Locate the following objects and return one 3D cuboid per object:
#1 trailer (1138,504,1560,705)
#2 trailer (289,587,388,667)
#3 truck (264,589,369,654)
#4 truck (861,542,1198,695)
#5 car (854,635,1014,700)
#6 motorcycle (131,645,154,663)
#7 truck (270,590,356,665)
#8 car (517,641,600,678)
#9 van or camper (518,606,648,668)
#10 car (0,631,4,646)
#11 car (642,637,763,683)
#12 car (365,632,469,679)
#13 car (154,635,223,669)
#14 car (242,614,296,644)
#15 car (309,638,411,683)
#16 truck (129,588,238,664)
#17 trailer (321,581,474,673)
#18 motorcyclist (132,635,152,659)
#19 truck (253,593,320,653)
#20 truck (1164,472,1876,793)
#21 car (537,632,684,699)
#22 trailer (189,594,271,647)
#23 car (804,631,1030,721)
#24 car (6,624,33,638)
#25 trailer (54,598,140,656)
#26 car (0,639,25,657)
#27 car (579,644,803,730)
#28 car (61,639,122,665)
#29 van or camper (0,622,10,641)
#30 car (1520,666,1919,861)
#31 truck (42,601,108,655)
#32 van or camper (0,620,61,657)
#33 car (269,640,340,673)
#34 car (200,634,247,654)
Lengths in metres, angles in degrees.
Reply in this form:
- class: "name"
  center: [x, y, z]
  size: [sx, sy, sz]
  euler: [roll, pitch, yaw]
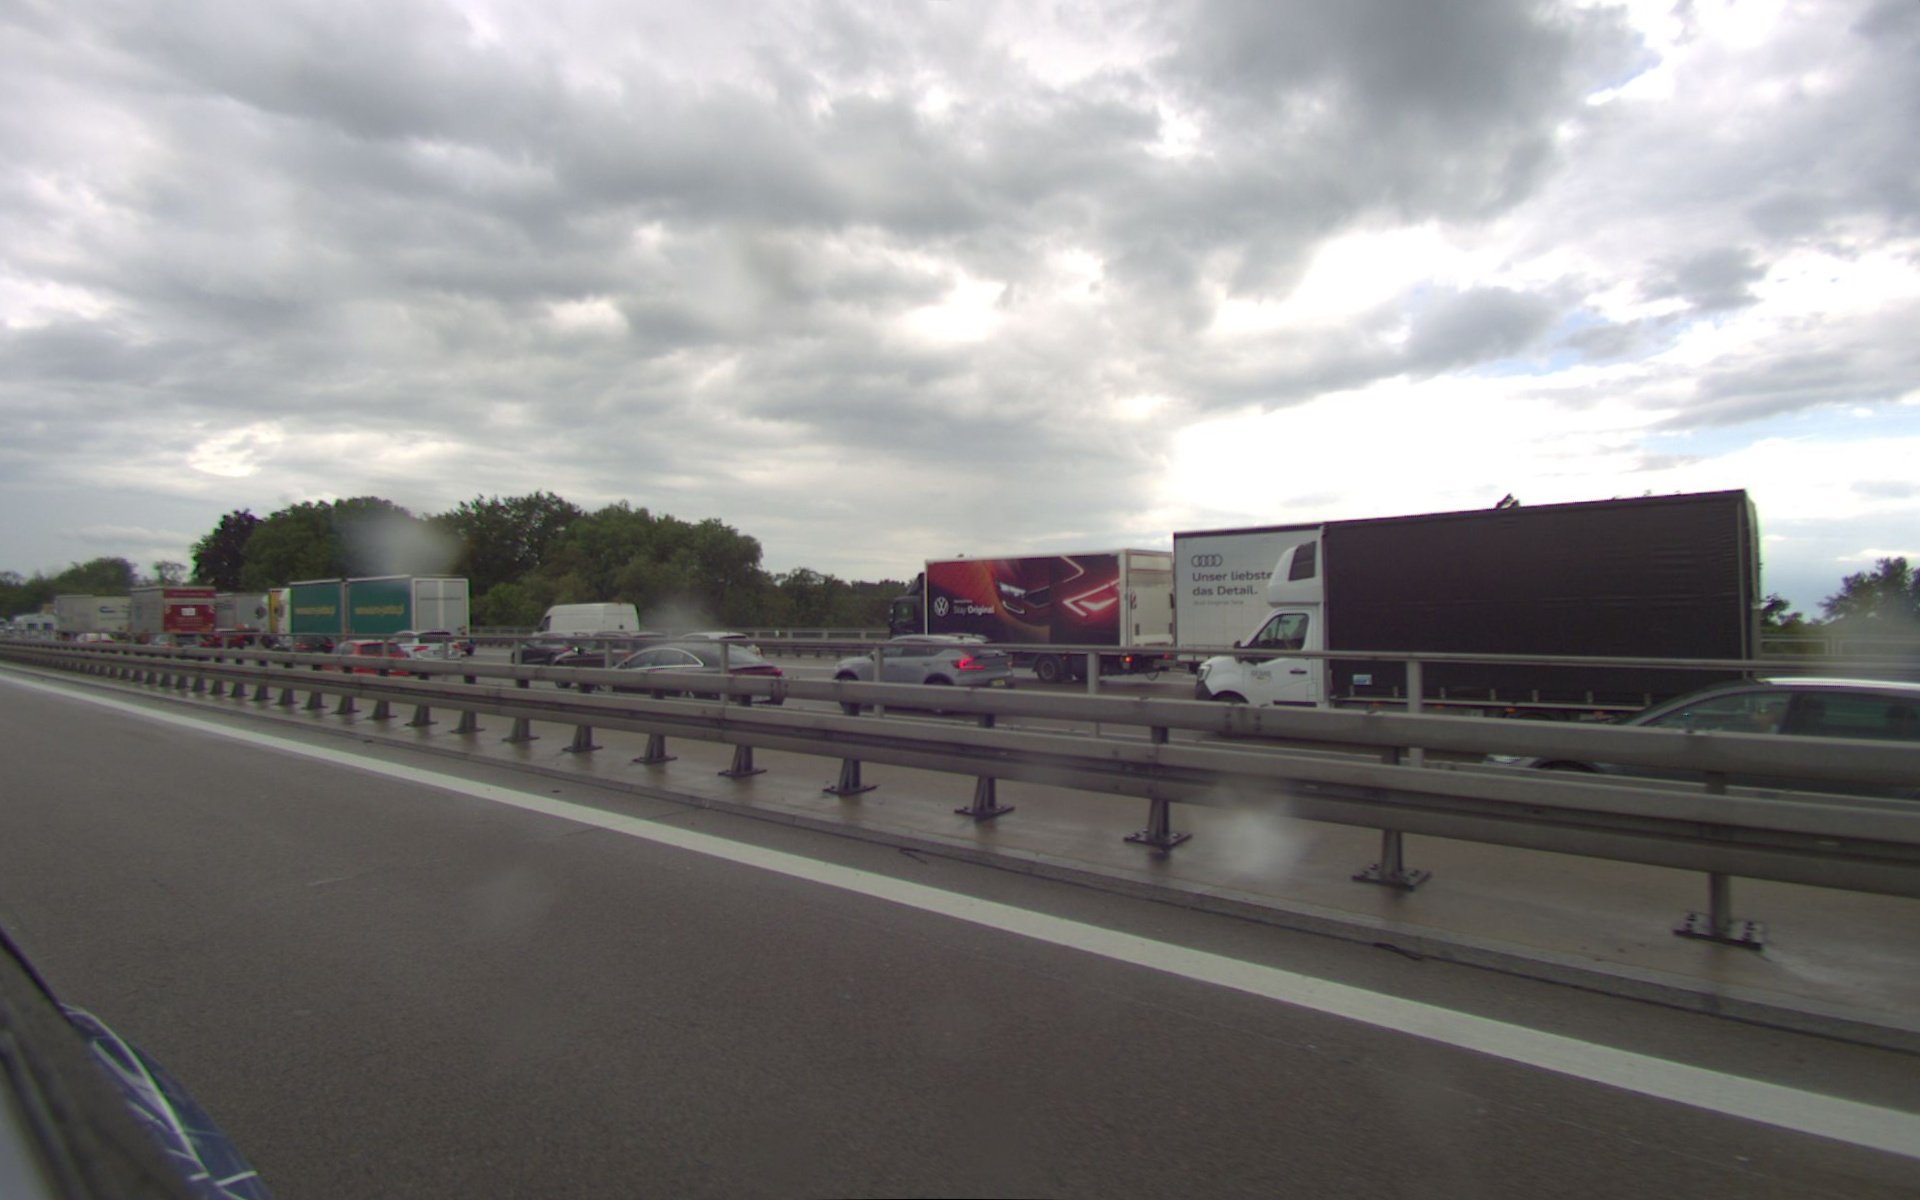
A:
- class: "trailer"
  center: [8.944, 0.183, 24.218]
  size: [8.846, 3.989, 3.185]
  euler: [-2, -1, 41]
- class: "trailer"
  center: [-33.818, 1.447, 54.983]
  size: [6.310, 4.060, 2.806]
  euler: [-2, -1, 41]
- class: "truck"
  center: [-43.141, 1.515, 67.603]
  size: [11.687, 4.012, 2.692]
  euler: [-2, -2, 41]
- class: "truck"
  center: [1.730, 0.580, 30.544]
  size: [10.276, 3.939, 3.192]
  euler: [-2, -1, 41]
- class: "car"
  center: [-0.726, 1.682, 26.240]
  size: [4.084, 1.547, 1.702]
  euler: [-2, -3, 41]
- class: "motorcycle"
  center: [-46.096, 3.015, 57.044]
  size: [1.788, 0.973, 0.726]
  euler: [-2, -3, 41]
- class: "truck"
  center: [-36.816, 1.510, 57.518]
  size: [4.960, 4.060, 2.816]
  euler: [-2, -1, 41]
- class: "car"
  center: [-15.395, 2.250, 38.723]
  size: [3.430, 1.343, 1.556]
  euler: [-2, -3, 41]
- class: "van or camper"
  center: [-17.118, 1.649, 45.736]
  size: [7.358, 2.598, 2.220]
  euler: [-2, -2, 40]
- class: "car"
  center: [-87.803, 3.453, 90.993]
  size: [5.454, 1.397, 1.994]
  euler: [-2, -2, 40]
- class: "car"
  center: [-8.241, 1.877, 32.225]
  size: [4.216, 1.364, 1.650]
  euler: [-2, -3, 41]
- class: "car"
  center: [-20.758, 2.067, 38.612]
  size: [4.774, 1.637, 1.746]
  euler: [-2, -1, 38]
- class: "car"
  center: [-36.176, 2.413, 47.429]
  size: [3.998, 1.463, 1.813]
  euler: [-1, -2, 41]
- class: "car"
  center: [-43.839, 1.805, 64.213]
  size: [3.999, 1.844, 1.972]
  euler: [-1, -1, 42]
- class: "car"
  center: [-19.481, 1.904, 32.785]
  size: [4.382, 1.364, 1.556]
  euler: [-2, -3, 41]
- class: "truck"
  center: [-46.798, 1.608, 60.806]
  size: [12.519, 4.180, 2.952]
  euler: [-2, -2, 42]
- class: "trailer"
  center: [-27.921, 1.301, 49.870]
  size: [11.596, 4.092, 2.789]
  euler: [-2, -1, 41]
- class: "motorcyclist"
  center: [-46.114, 2.658, 57.040]
  size: [1.029, 1.351, 0.720]
  euler: [-2, -3, 41]
- class: "truck"
  center: [-47.618, 1.653, 71.496]
  size: [5.106, 4.100, 2.674]
  euler: [-2, -2, 41]
- class: "truck"
  center: [7.345, 0.471, 14.589]
  size: [8.536, 3.425, 2.493]
  euler: [-2, -3, 41]
- class: "car"
  center: [-10.079, 1.810, 28.978]
  size: [5.102, 1.741, 1.702]
  euler: [-2, -3, 41]
- class: "trailer"
  center: [-59.742, 1.742, 82.641]
  size: [12.301, 4.024, 2.729]
  euler: [-2, -2, 41]
- class: "car"
  center: [-1.033, 1.527, 21.611]
  size: [5.053, 1.713, 1.702]
  euler: [-2, -3, 41]
- class: "car"
  center: [-135.362, 4.424, 145.685]
  size: [5.404, 2.029, 1.975]
  euler: [-1, -2, 38]
- class: "trailer"
  center: [-66.272, 2.101, 77.581]
  size: [13.017, 4.177, 2.851]
  euler: [-2, -2, 40]
- class: "car"
  center: [-78.009, 3.894, 82.555]
  size: [5.160, 1.429, 1.903]
  euler: [-2, -2, 40]
- class: "car"
  center: [-5.679, 1.690, 20.872]
  size: [5.499, 1.514, 1.701]
  euler: [-2, -3, 41]
- class: "car"
  center: [-51.059, 3.038, 59.444]
  size: [5.007, 1.429, 1.903]
  euler: [-2, -2, 40]
- class: "van or camper"
  center: [-149.190, 4.911, 156.529]
  size: [7.220, 2.786, 2.181]
  euler: [-2, -2, 38]
- class: "car"
  center: [7.238, 1.306, 8.671]
  size: [3.998, 1.364, 1.702]
  euler: [-2, -3, 41]
- class: "truck"
  center: [-72.261, 2.279, 82.593]
  size: [7.550, 4.212, 2.851]
  euler: [-2, -2, 40]
- class: "van or camper"
  center: [-66.865, 2.728, 72.727]
  size: [7.296, 2.515, 2.255]
  euler: [-2, -2, 40]
- class: "car"
  center: [-31.301, 2.655, 48.260]
  size: [3.998, 1.463, 1.812]
  euler: [-2, -3, 41]
- class: "car"
  center: [-49.606, 2.946, 68.144]
  size: [4.191, 1.354, 1.582]
  euler: [-2, -2, 40]
